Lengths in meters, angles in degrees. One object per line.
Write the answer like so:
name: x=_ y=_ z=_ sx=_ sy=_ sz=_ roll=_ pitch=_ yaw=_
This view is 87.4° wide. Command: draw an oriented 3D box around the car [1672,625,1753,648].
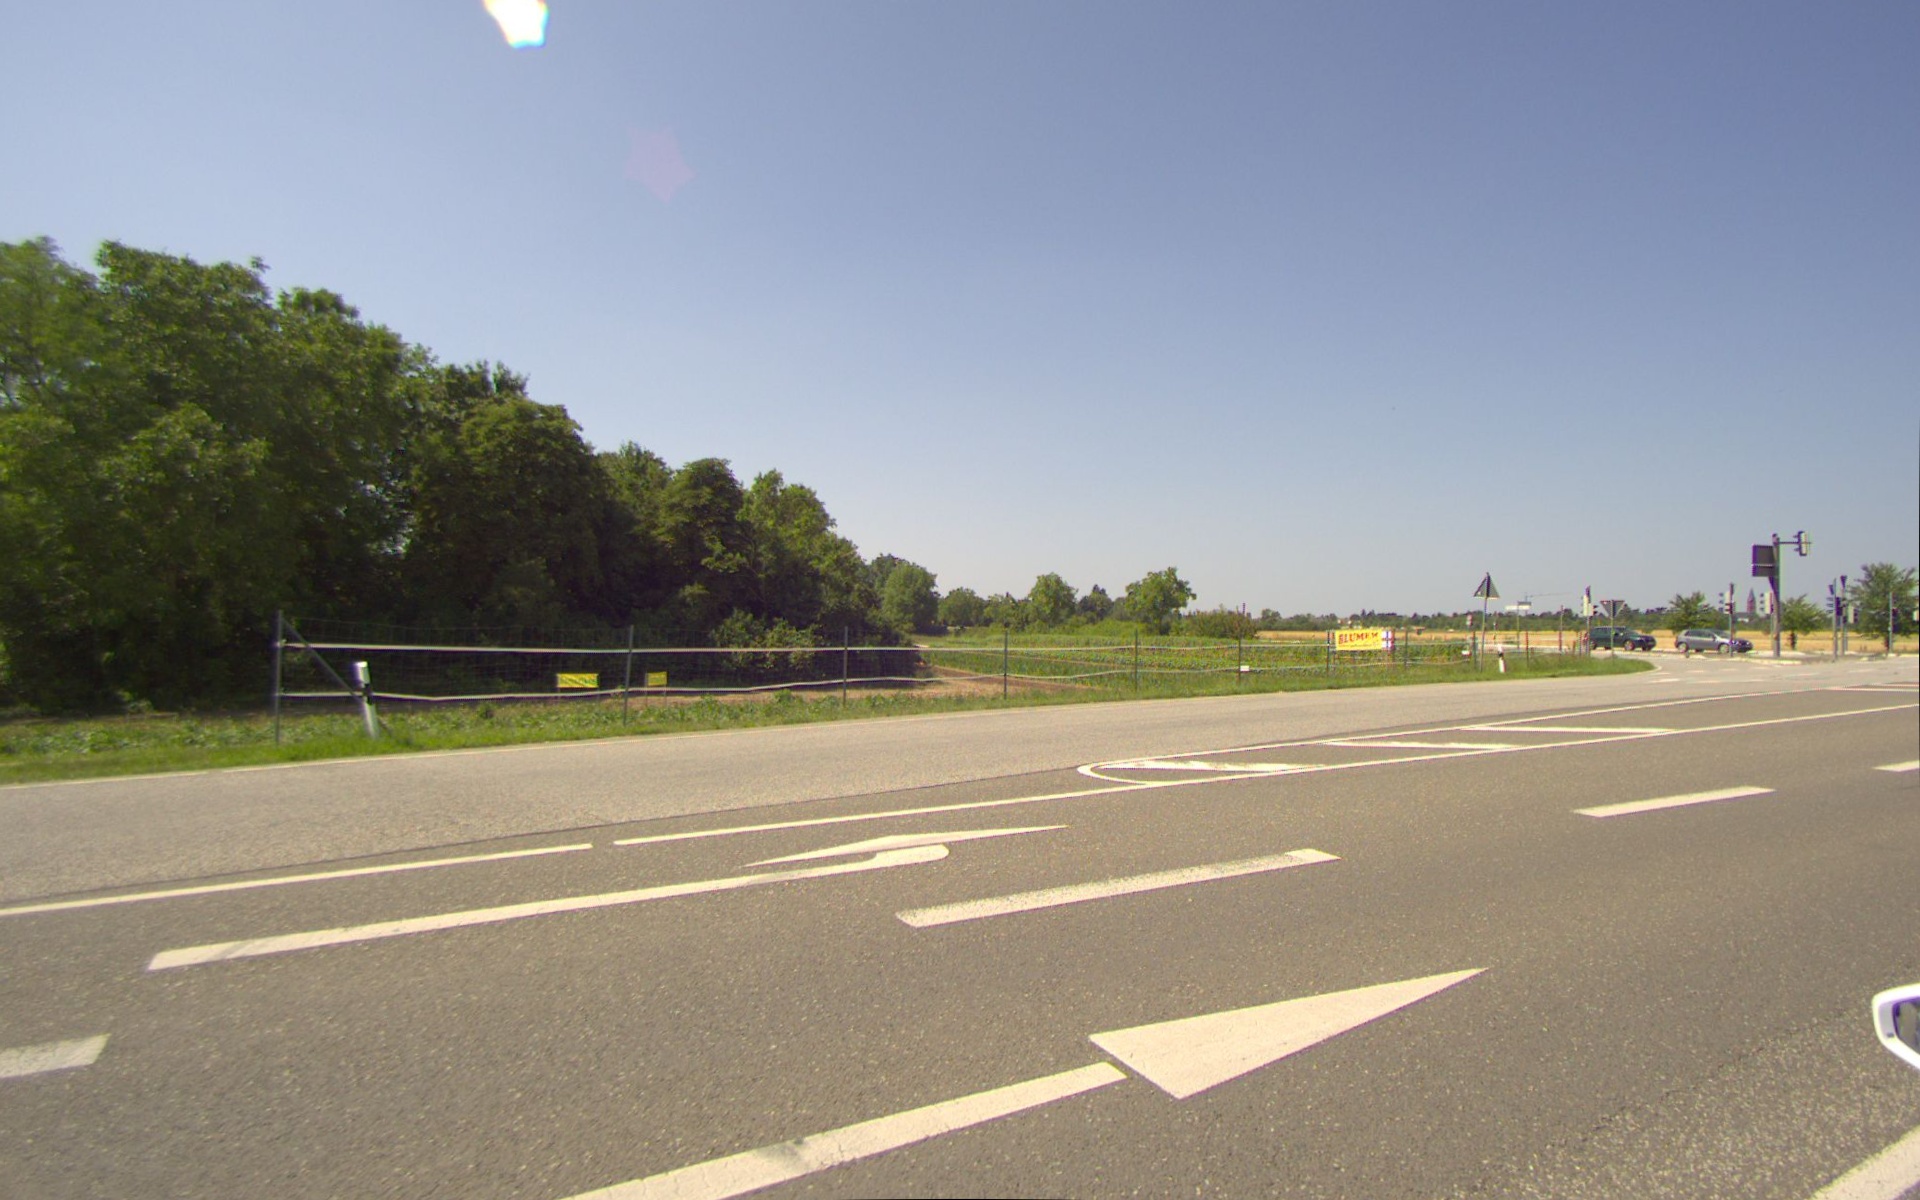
car: x=47.464 y=2.284 z=63.442 sx=1.609 sy=1.405 sz=3.865 roll=0 pitch=-1 yaw=-18

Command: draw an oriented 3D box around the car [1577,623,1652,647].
car: x=45.195 y=2.435 z=69.428 sx=1.608 sy=1.615 sz=4.356 roll=0 pitch=-2 yaw=-16
